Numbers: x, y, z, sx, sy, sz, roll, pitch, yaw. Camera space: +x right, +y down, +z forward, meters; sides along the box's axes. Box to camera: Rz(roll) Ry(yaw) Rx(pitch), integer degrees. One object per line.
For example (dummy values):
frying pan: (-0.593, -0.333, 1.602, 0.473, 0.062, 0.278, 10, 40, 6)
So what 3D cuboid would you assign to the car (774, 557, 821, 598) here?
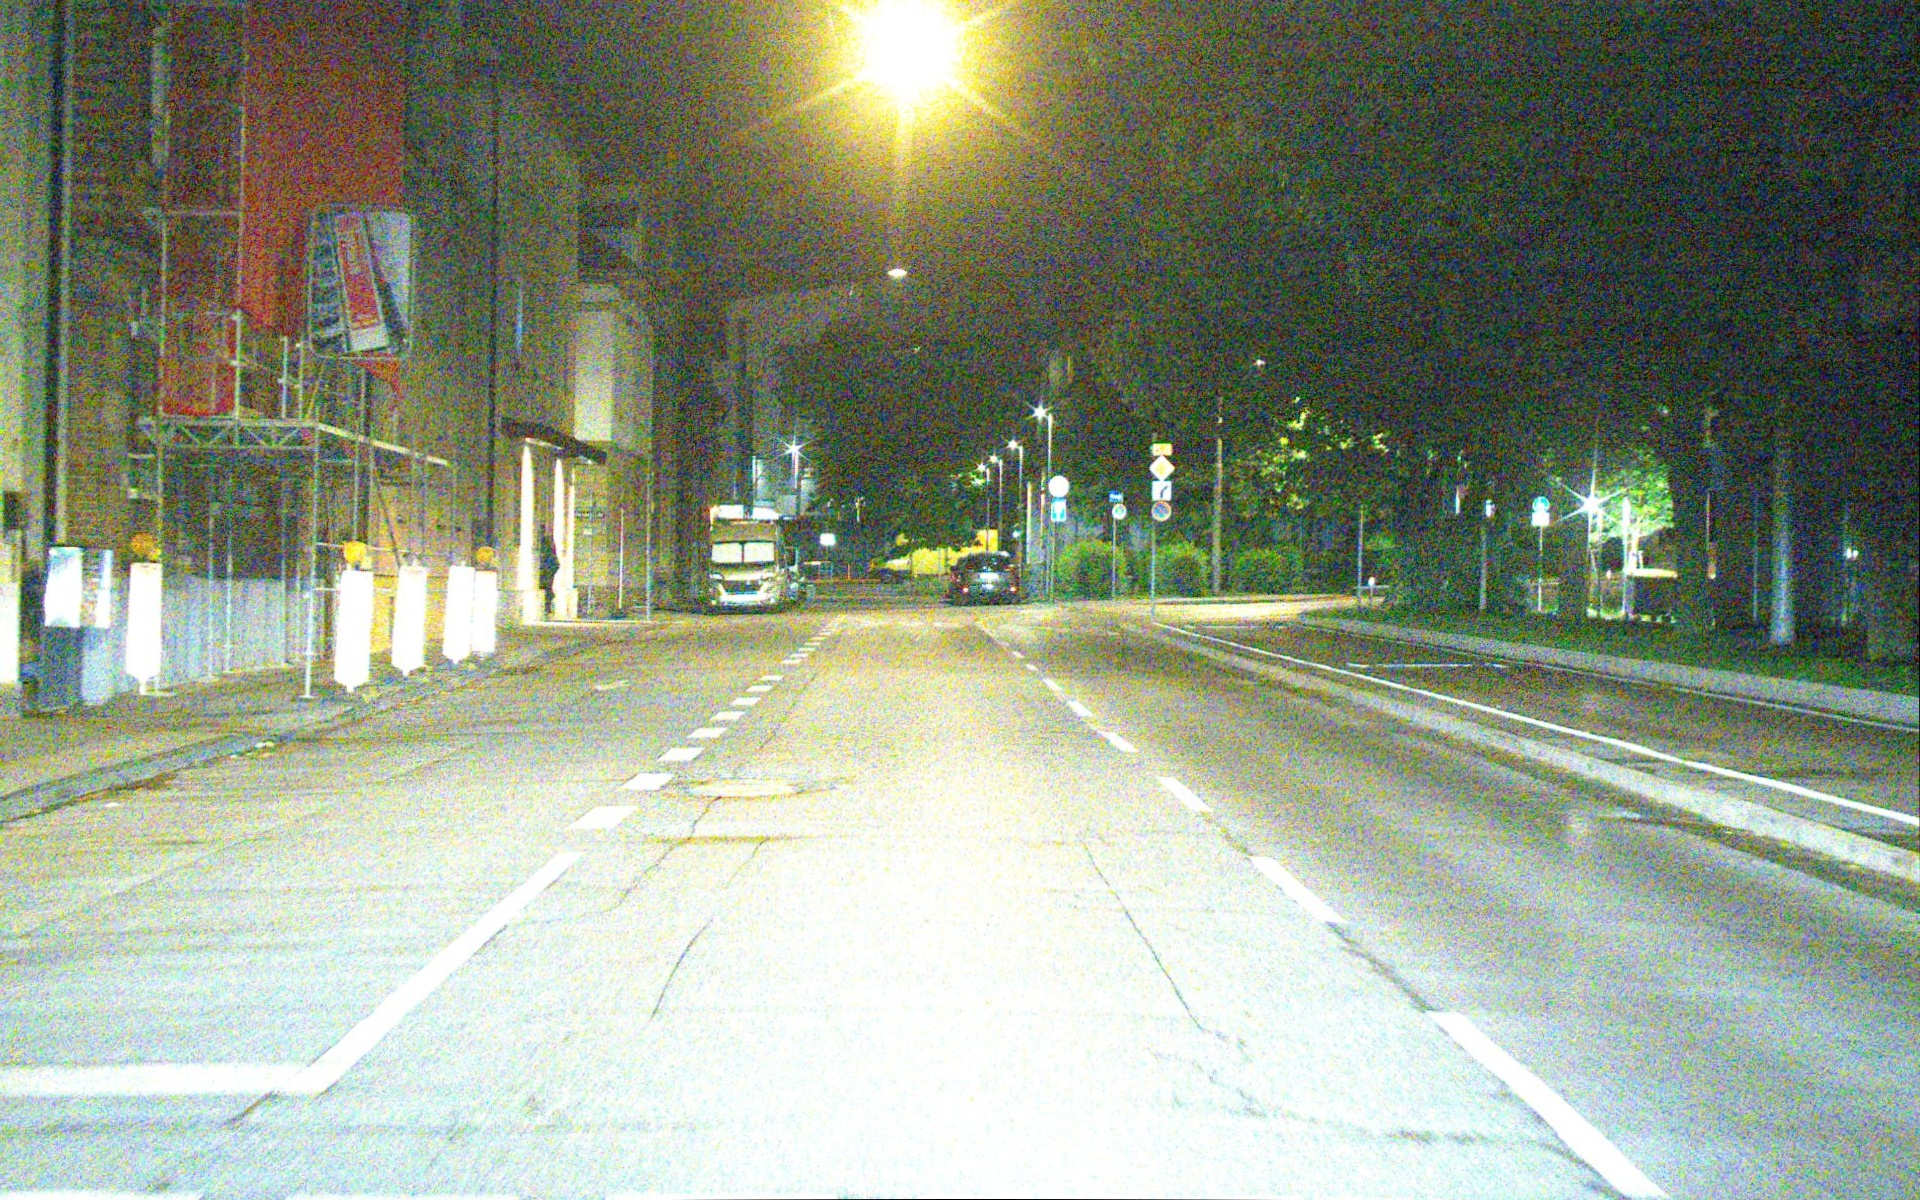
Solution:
car: (-6.293, -0.850, 133.380, 1.677, 1.561, 4.105, 0, 0, -1)

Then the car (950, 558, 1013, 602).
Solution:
car: (0.656, -0.638, 110.050, 1.963, 1.378, 4.000, 0, 0, 0)

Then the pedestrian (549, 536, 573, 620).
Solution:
pedestrian: (-8.209, -0.449, 70.674, 0.415, 1.702, 0.442, 0, 0, -17)

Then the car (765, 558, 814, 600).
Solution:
car: (-6.312, -0.767, 127.789, 1.704, 1.505, 4.100, 1, 0, -2)

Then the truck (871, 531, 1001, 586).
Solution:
truck: (-1.274, -2.201, 182.165, 6.775, 2.835, 2.000, 1, 1, -3)

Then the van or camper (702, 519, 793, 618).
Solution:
van or camper: (-5.780, -0.854, 94.127, 2.158, 2.527, 6.227, -2, 0, -1)

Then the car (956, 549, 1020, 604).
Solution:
car: (0.878, -0.702, 104.609, 1.884, 1.597, 4.107, -1, 0, 1)

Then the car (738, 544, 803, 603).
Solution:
car: (-6.314, -0.882, 115.117, 1.993, 1.948, 4.806, 0, 0, -1)

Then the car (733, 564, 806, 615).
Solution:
car: (-5.847, -0.338, 105.026, 1.838, 1.502, 4.743, -1, 0, -8)
